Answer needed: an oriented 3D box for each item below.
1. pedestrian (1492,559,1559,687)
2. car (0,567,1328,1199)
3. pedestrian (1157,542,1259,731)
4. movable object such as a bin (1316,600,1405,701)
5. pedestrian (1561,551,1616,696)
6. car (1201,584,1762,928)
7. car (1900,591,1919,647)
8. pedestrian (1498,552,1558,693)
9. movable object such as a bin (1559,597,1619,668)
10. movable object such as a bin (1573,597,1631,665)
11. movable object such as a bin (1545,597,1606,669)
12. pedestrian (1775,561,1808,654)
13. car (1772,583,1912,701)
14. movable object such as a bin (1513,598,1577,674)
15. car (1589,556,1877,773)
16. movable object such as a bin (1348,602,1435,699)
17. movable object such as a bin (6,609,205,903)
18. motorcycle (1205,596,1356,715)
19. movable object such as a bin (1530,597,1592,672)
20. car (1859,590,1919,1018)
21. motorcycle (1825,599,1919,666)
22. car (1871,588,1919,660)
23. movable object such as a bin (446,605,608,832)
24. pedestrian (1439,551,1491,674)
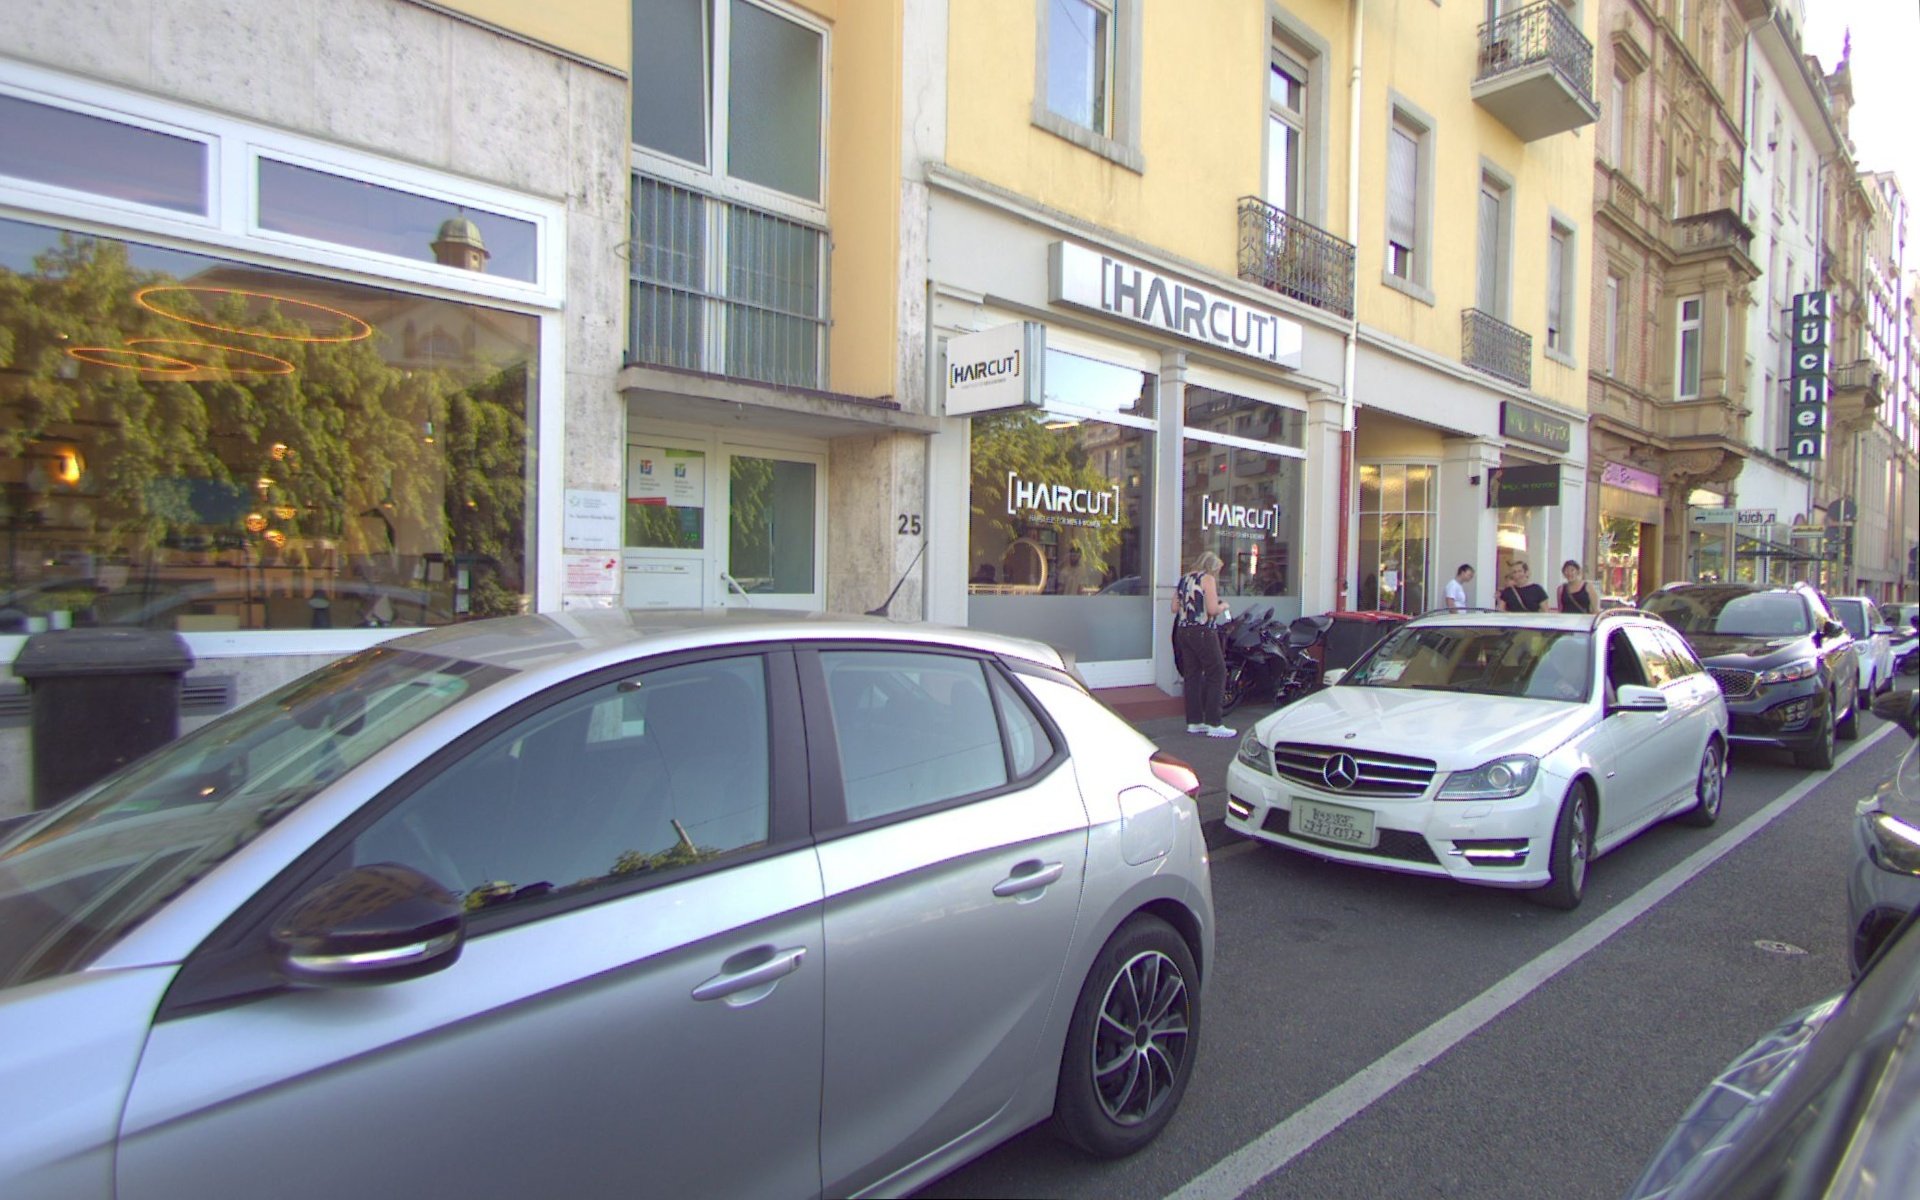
[{"bbox_3d":[7.585,0.296,13.599,0.582,1.681,0.451,2,1,3],"label":"pedestrian"},{"bbox_3d":[-0.868,0.667,2.439,4.008,1.445,1.672,0,1,-43],"label":"car"},{"bbox_3d":[2.278,0.307,9.322,0.523,1.653,0.697,0,2,-43],"label":"pedestrian"},{"bbox_3d":[4.507,0.547,11.408,0.608,1.054,0.661,1,3,-38],"label":"movable object such as a bin"},{"bbox_3d":[7.336,0.264,11.835,0.510,1.653,0.410,1,0,30],"label":"pedestrian"},{"bbox_3d":[3.551,0.647,6.459,4.387,1.465,1.741,0,1,-42],"label":"car"},{"bbox_3d":[26.543,0.503,27.038,3.736,1.435,1.736,0,1,-41],"label":"car"},{"bbox_3d":[6.865,0.260,12.229,0.614,1.653,0.458,1,0,32],"label":"pedestrian"},{"bbox_3d":[10.228,0.519,16.456,0.608,1.079,0.606,0,4,-41],"label":"movable object such as a bin"},{"bbox_3d":[10.720,0.504,16.895,0.608,1.079,0.606,0,4,-41],"label":"movable object such as a bin"},{"bbox_3d":[9.758,0.512,16.049,0.608,1.079,0.606,0,4,-41],"label":"movable object such as a bin"},{"bbox_3d":[16.254,0.145,19.784,0.473,1.785,0.434,0,0,-41],"label":"pedestrian"},{"bbox_3d":[12.821,0.537,14.674,2.748,1.537,1.273,0,1,-44],"label":"car"},{"bbox_3d":[8.810,0.524,15.249,0.608,1.079,0.606,0,4,-41],"label":"movable object such as a bin"},{"bbox_3d":[8.085,0.493,10.403,4.498,1.758,1.756,0,1,-45],"label":"car"},{"bbox_3d":[5.011,0.570,11.774,0.608,1.037,0.669,0,3,-38],"label":"movable object such as a bin"},{"bbox_3d":[-3.671,0.610,4.368,0.609,1.080,0.704,0,4,-41],"label":"movable object such as a bin"},{"bbox_3d":[3.355,0.526,10.492,1.975,1.105,0.551,0,3,-42],"label":"motorcycle"},{"bbox_3d":[9.300,0.518,15.656,0.608,1.079,0.606,0,4,-41],"label":"movable object such as a bin"},{"bbox_3d":[5.405,0.706,4.314,4.297,1.467,1.846,0,1,-41],"label":"car"},{"bbox_3d":[19.010,0.648,20.478,2.137,1.295,0.866,1,0,7],"label":"motorcycle"},{"bbox_3d":[22.121,0.513,23.041,4.096,1.537,1.734,0,1,-44],"label":"car"},{"bbox_3d":[-2.365,0.593,5.507,0.609,1.080,0.704,0,4,-41],"label":"movable object such as a bin"},{"bbox_3d":[7.016,0.171,14.065,0.513,1.681,0.339,1,2,-25],"label":"pedestrian"}]
